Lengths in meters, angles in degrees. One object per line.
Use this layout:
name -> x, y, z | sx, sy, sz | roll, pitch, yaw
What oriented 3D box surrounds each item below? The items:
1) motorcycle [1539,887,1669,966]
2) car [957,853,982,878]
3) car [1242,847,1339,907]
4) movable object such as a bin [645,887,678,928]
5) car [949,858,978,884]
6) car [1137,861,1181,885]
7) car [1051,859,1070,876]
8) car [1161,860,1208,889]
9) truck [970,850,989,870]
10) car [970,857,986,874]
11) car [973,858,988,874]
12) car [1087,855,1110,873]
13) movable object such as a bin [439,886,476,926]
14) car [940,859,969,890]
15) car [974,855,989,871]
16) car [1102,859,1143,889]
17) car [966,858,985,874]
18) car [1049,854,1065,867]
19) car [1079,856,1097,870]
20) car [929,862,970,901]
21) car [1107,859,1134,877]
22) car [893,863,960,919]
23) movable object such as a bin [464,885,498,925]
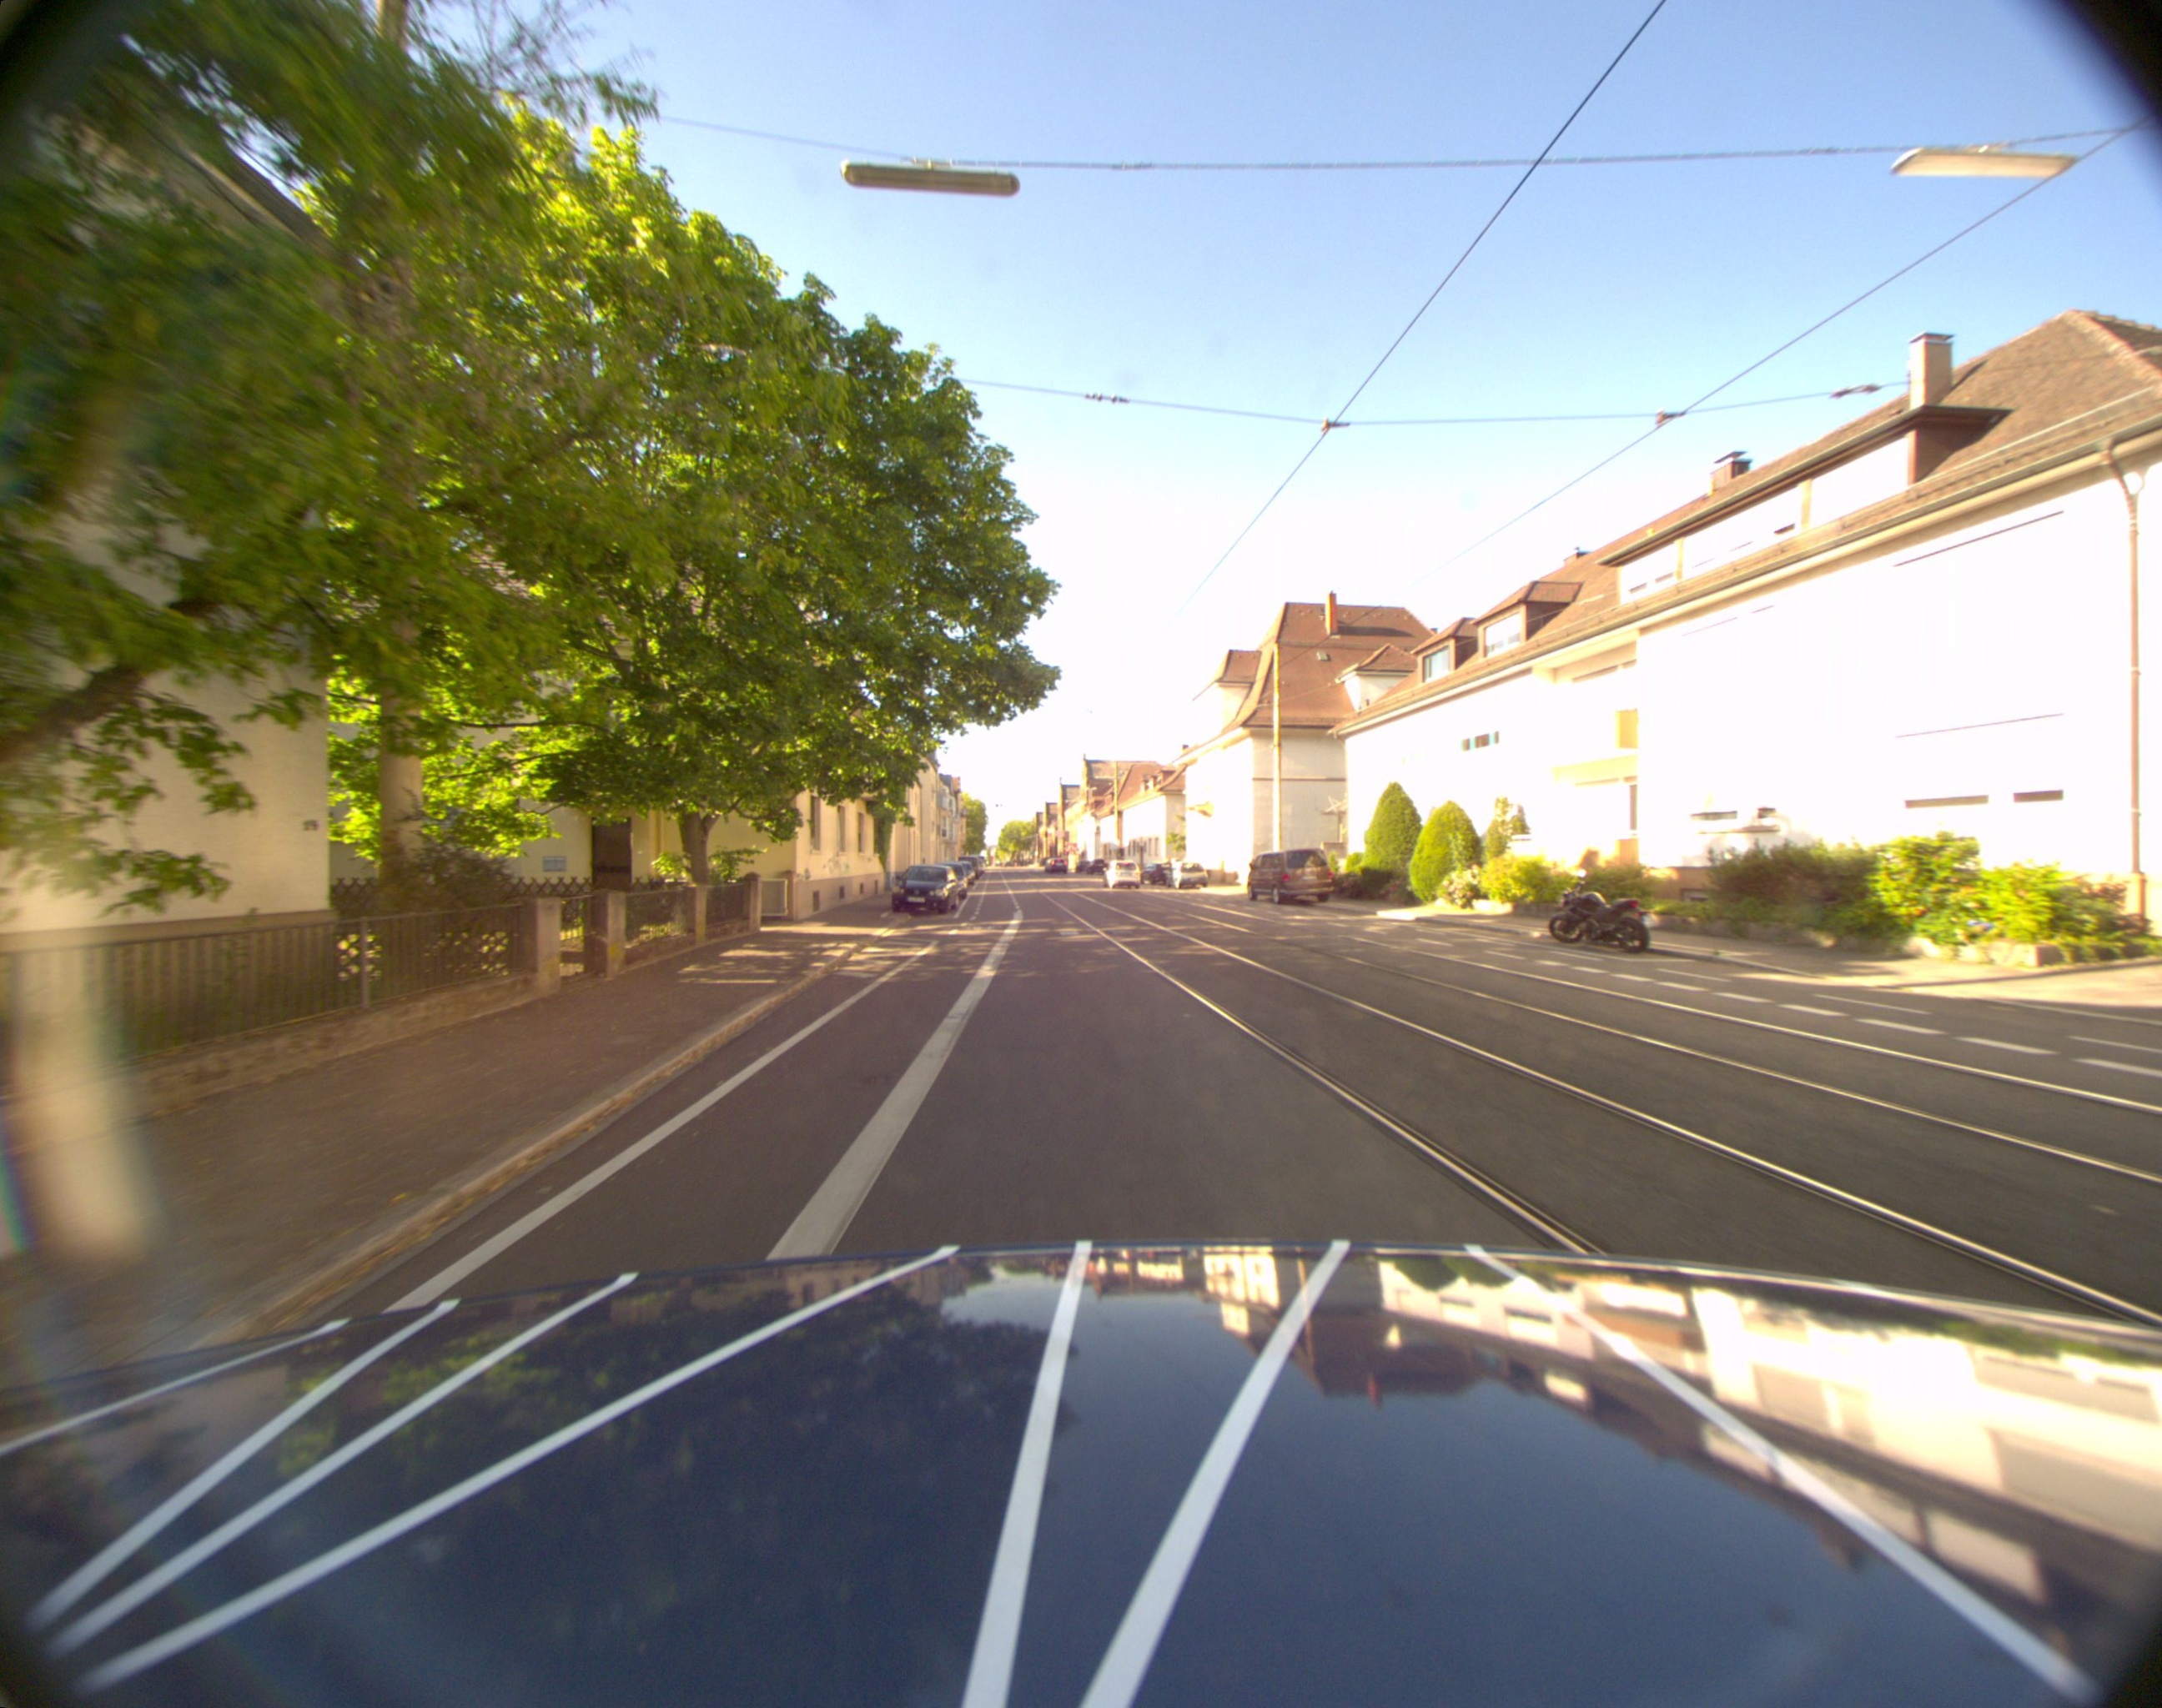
motorcycle -> 8.975, 1.211, 13.171 | 0.538, 1.155, 2.170 | 1, 0, -6
car -> -9.145, 0.919, 62.449 | 1.912, 1.975, 4.560 | -2, 0, -7
car -> 7.674, 0.795, 28.419 | 1.911, 2.002, 4.947 | -2, 0, -4
movable object such as a bin -> -10.151, 1.287, 18.378 | 0.530, 0.942, 0.498 | 0, 0, -3
car -> -7.842, 1.072, 50.850 | 1.750, 1.589, 4.430 | -2, 0, -8
car -> 4.943, 1.181, 48.736 | 1.668, 1.468, 4.246 | 0, 0, -10
car -> -2.237, 1.427, 82.590 | 1.709, 1.695, 4.361 | 1, 0, -6
car -> 5.754, 1.095, 42.717 | 1.682, 1.468, 3.833 | -2, 0, -6
truck -> -13.032, 0.767, 97.743 | 2.302, 2.463, 6.143 | 0, 0, -6
car -> -10.419, 1.142, 77.059 | 1.559, 1.548, 3.650 | -2, 0, -7
car -> -10.758, 1.284, 81.486 | 1.501, 1.548, 3.362 | -2, 0, -7
car -> 1.779, 1.003, 78.373 | 1.767, 1.695, 4.552 | 1, 0, -7
movable object such as a bin -> -14.859, 1.228, 18.112 | 0.517, 0.926, 0.437 | 0, 0, -3
car -> -6.866, 1.075, 41.491 | 1.462, 1.589, 3.291 | -2, 0, -8
car -> -11.964, 1.060, 91.531 | 1.744, 1.736, 4.253 | -2, 0, -6
car -> 2.133, 1.036, 40.084 | 1.580, 1.468, 3.439 | 1, 0, -6
car -> -9.935, 1.117, 72.072 | 1.682, 1.482, 4.170 | -2, 0, -7
car -> -2.888, 0.784, 90.559 | 1.622, 1.452, 4.073 | 1, 0, -5
car -> 0.771, 1.042, 90.391 | 1.620, 1.618, 3.918 | 1, 0, -7
car -> -5.600, 1.123, 32.670 | 1.606, 1.516, 3.546 | -2, 0, -8
car -> 3.340, 1.173, 64.413 | 1.636, 1.449, 4.013 | 1, 0, -6
car -> -4.779, 1.092, 23.958 | 1.671, 1.554, 3.768 | 0, 1, -5
movable object such as a bin -> -14.316, 1.217, 18.132 | 0.449, 0.926, 0.437 | 0, 0, -3
